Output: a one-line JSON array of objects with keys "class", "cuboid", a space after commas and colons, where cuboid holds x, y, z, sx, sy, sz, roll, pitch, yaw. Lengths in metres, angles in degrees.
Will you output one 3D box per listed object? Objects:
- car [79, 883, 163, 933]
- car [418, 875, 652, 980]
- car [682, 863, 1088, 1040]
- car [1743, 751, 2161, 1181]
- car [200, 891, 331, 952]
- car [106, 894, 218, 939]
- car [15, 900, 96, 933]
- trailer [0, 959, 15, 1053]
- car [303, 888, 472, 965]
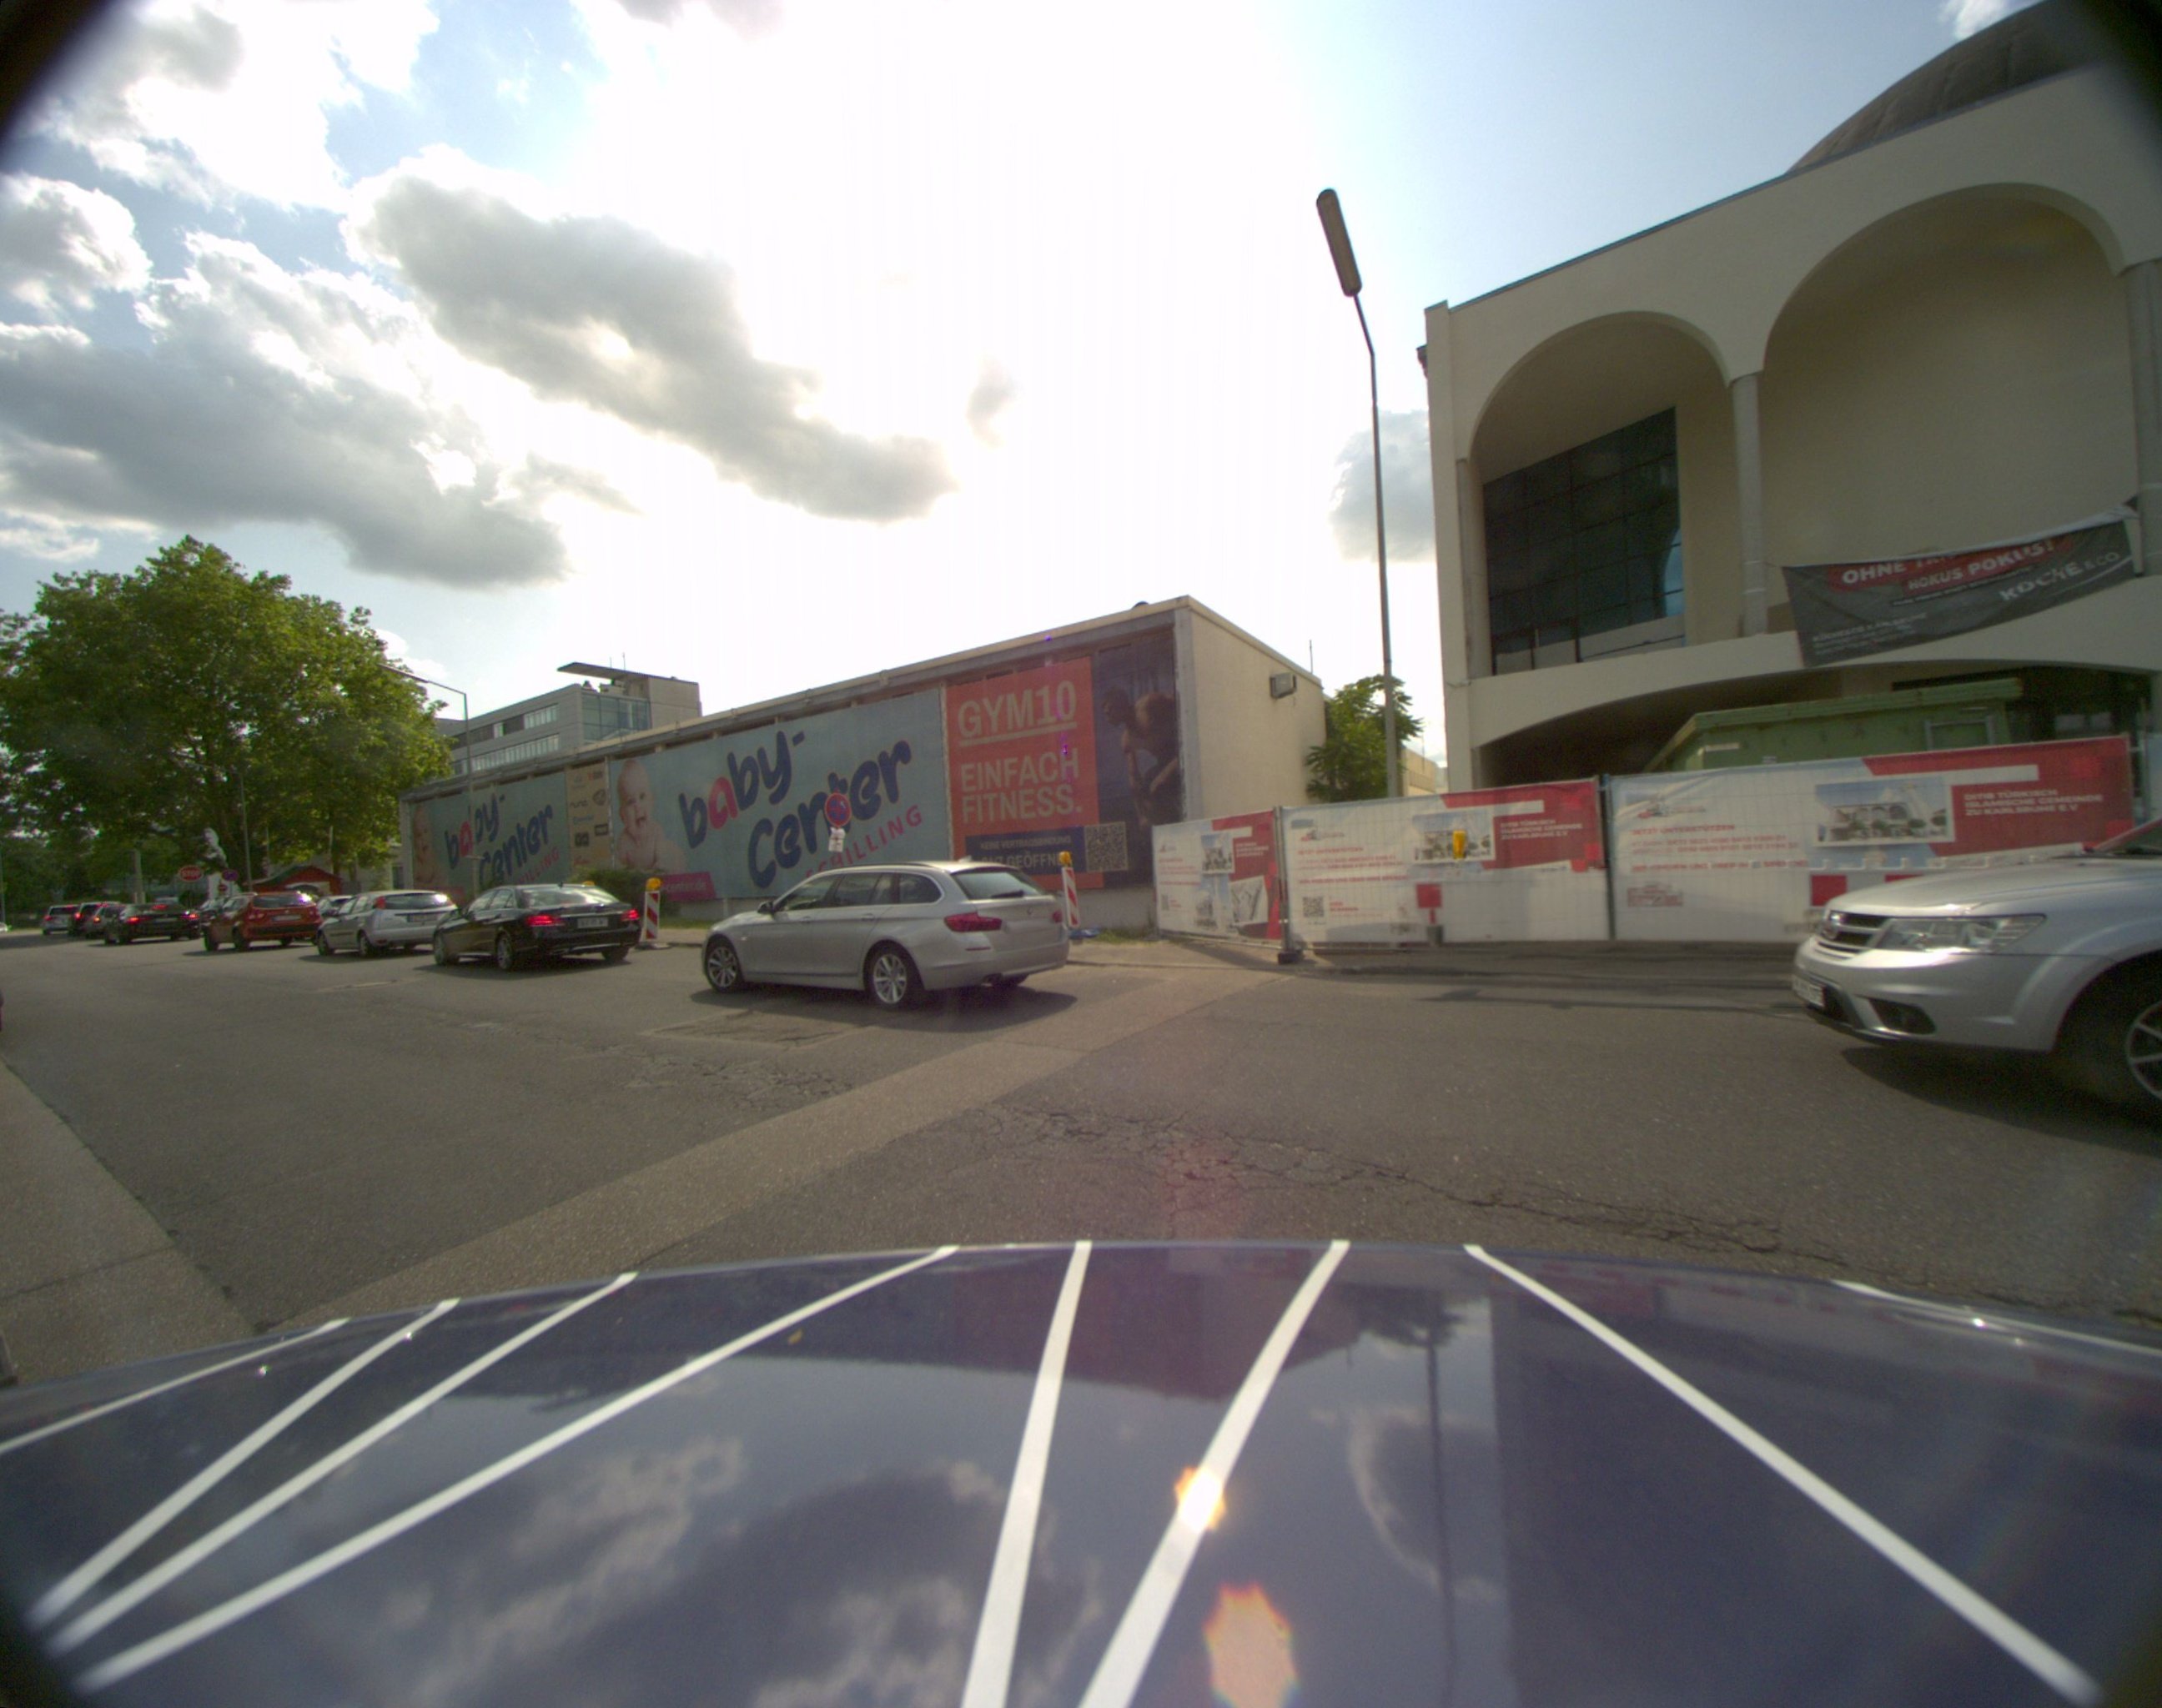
[{"class": "car", "cuboid": [-43.211, 2.404, 34.195, 3.989, 2.002, 2.004, -2, 1, 35]}, {"class": "car", "cuboid": [-9.859, 1.242, 13.626, 4.544, 1.491, 1.857, -3, 1, 34]}, {"class": "car", "cuboid": [-2.356, 0.941, 8.563, 4.605, 1.471, 1.774, -3, 0, 34]}, {"class": "car", "cuboid": [6.070, 0.382, 3.048, 4.827, 1.689, 1.872, -2, 0, 29]}, {"class": "car", "cuboid": [-23.019, 1.876, 21.440, 3.497, 1.494, 1.602, -3, 1, 28]}, {"class": "car", "cuboid": [-34.886, 2.349, 28.819, 4.776, 1.396, 2.017, -3, 2, 32]}, {"class": "car", "cuboid": [-56.623, 3.464, 41.956, 3.990, 1.574, 2.003, -3, 1, 28]}, {"class": "trailer", "cuboid": [-13.466, 0.992, 8.191, 4.266, 2.406, 1.771, -2, 4, 31]}, {"class": "car", "cuboid": [-16.130, 1.627, 17.643, 3.938, 1.482, 1.797, -3, 1, 31]}]
